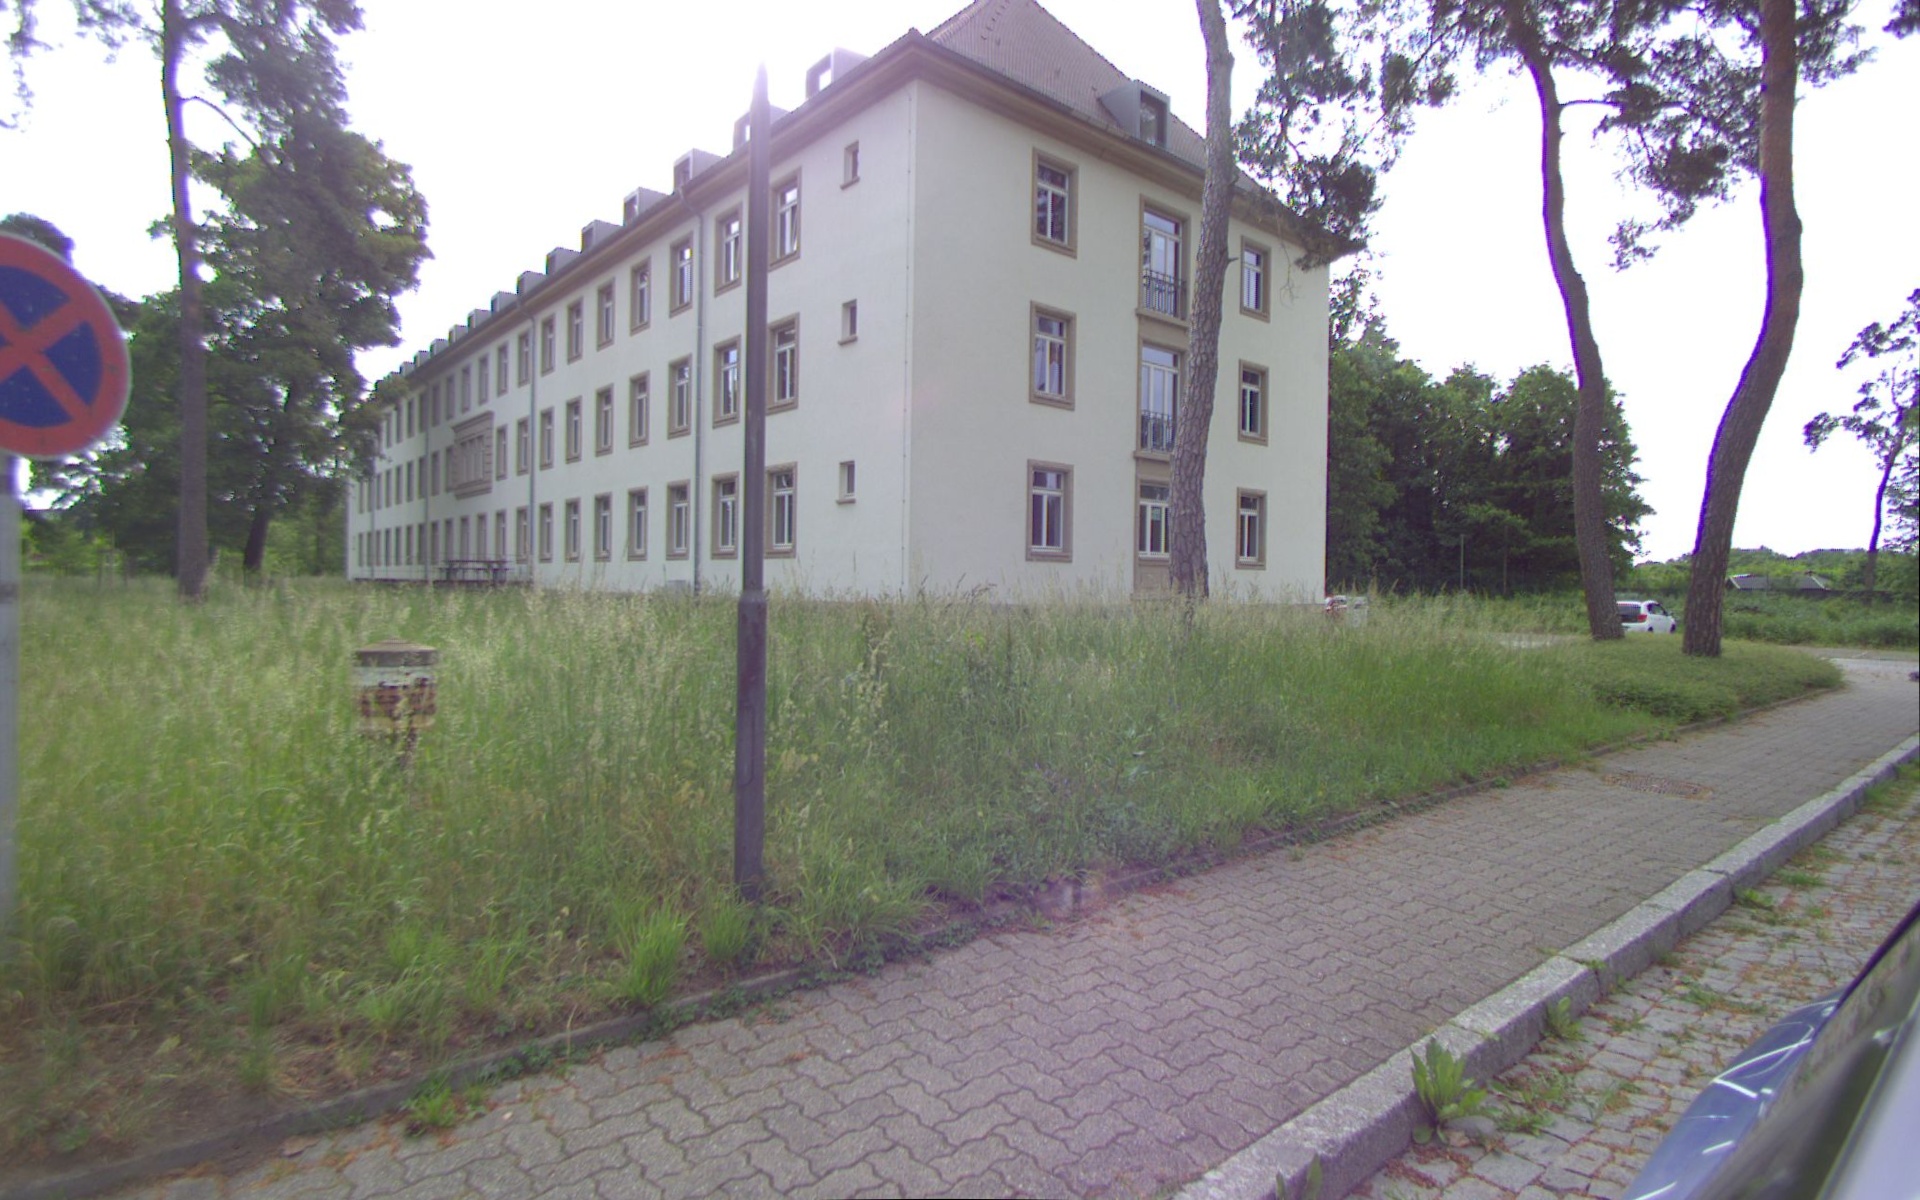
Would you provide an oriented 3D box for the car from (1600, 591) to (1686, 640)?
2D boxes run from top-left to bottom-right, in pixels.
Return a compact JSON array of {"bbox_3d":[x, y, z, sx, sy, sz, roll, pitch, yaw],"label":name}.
[{"bbox_3d":[23.286,0.497,34.491,3.221,1.451,1.640,-3,3,-40],"label":"car"}]

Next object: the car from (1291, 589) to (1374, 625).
[{"bbox_3d":[15.850,0.275,42.994,3.931,1.345,1.640,-3,3,-41],"label":"car"}]
